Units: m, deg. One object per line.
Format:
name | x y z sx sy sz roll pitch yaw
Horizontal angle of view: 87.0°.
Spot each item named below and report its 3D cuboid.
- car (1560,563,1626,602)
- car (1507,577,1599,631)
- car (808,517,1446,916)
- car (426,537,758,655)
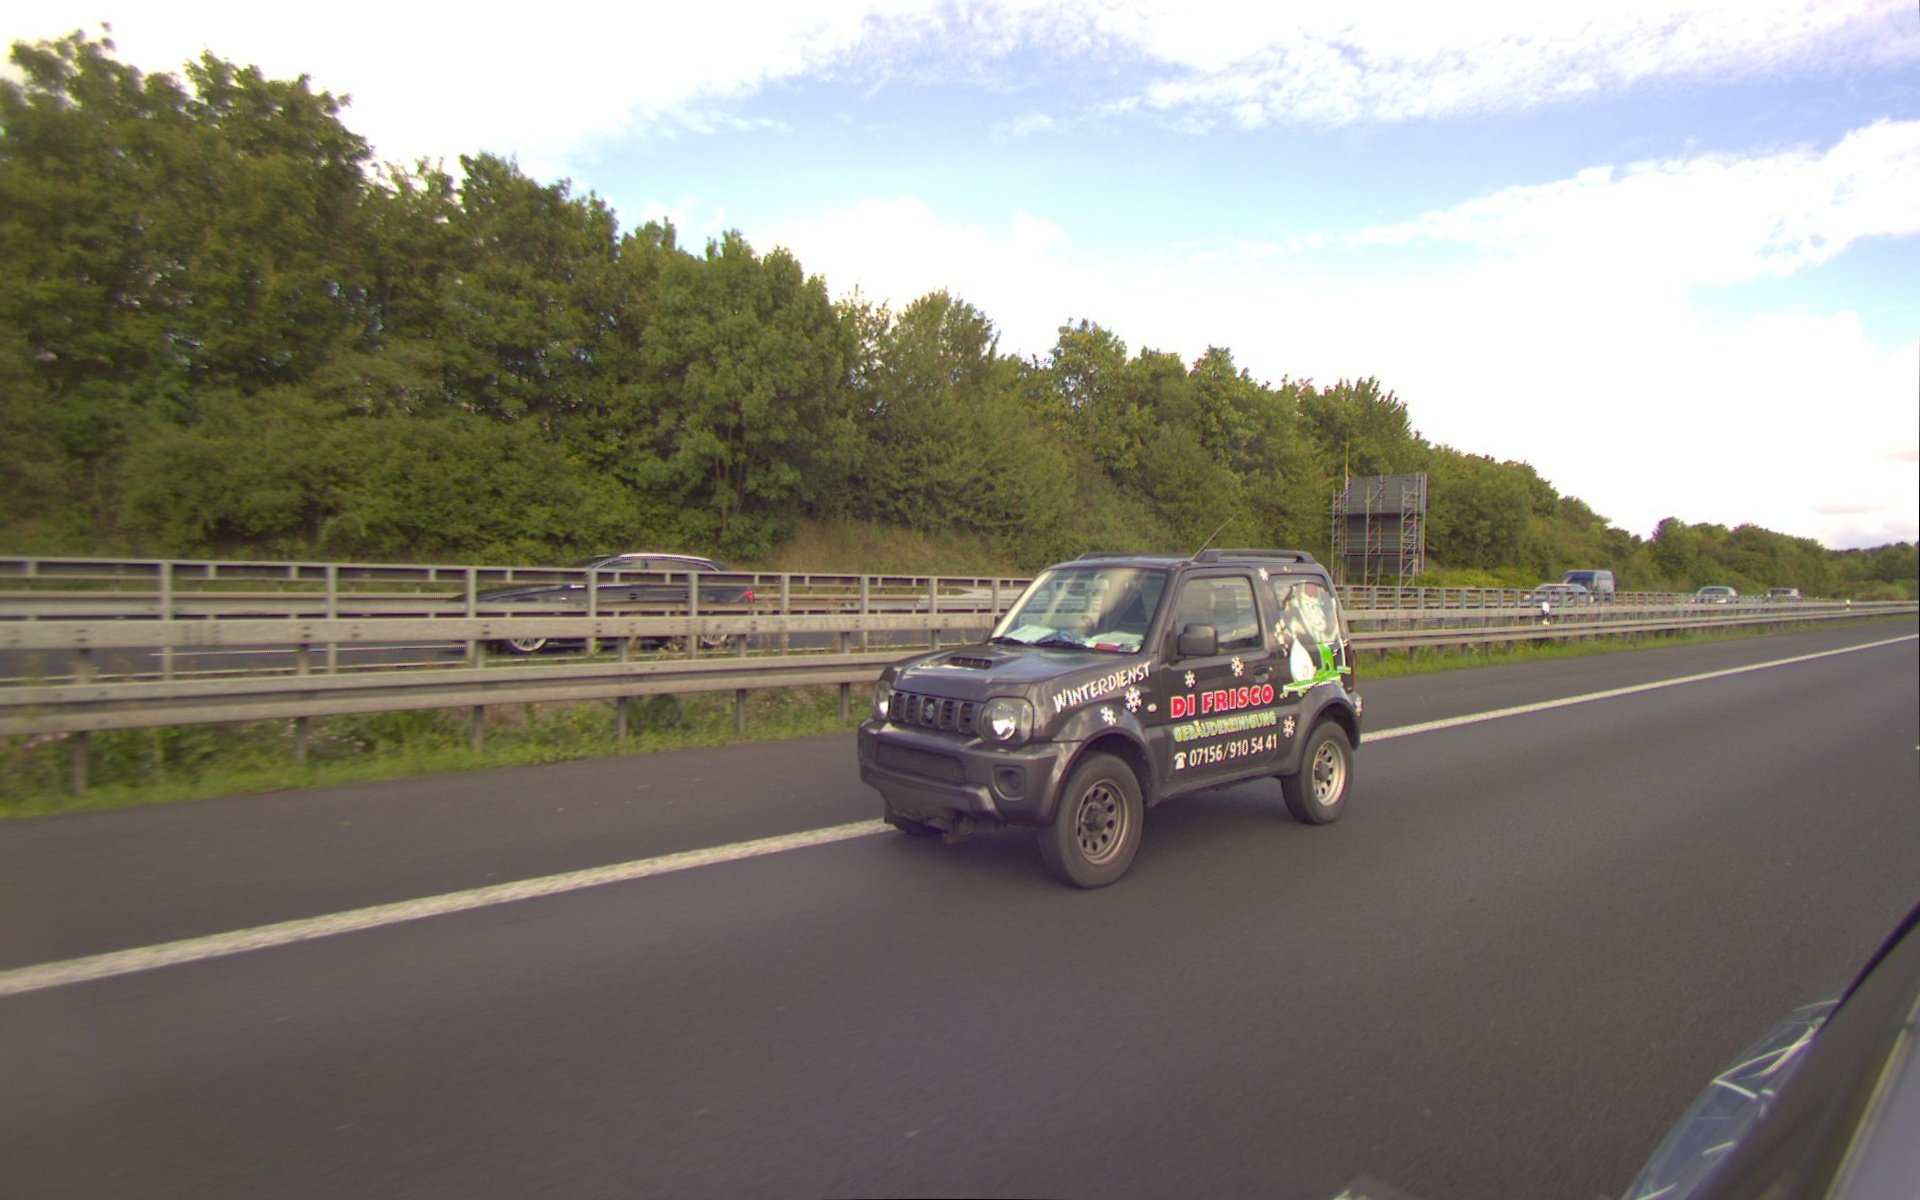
car | 37.957 -1.043 60.614 5.040 2.212 1.997 0 2 -42
car | 24.196 0.122 41.279 3.930 2.038 1.998 0 3 -41
car | 1.262 0.471 6.413 4.132 1.754 1.670 0 2 -40
car | -5.385 -0.102 15.103 4.236 1.502 1.997 0 2 -42
